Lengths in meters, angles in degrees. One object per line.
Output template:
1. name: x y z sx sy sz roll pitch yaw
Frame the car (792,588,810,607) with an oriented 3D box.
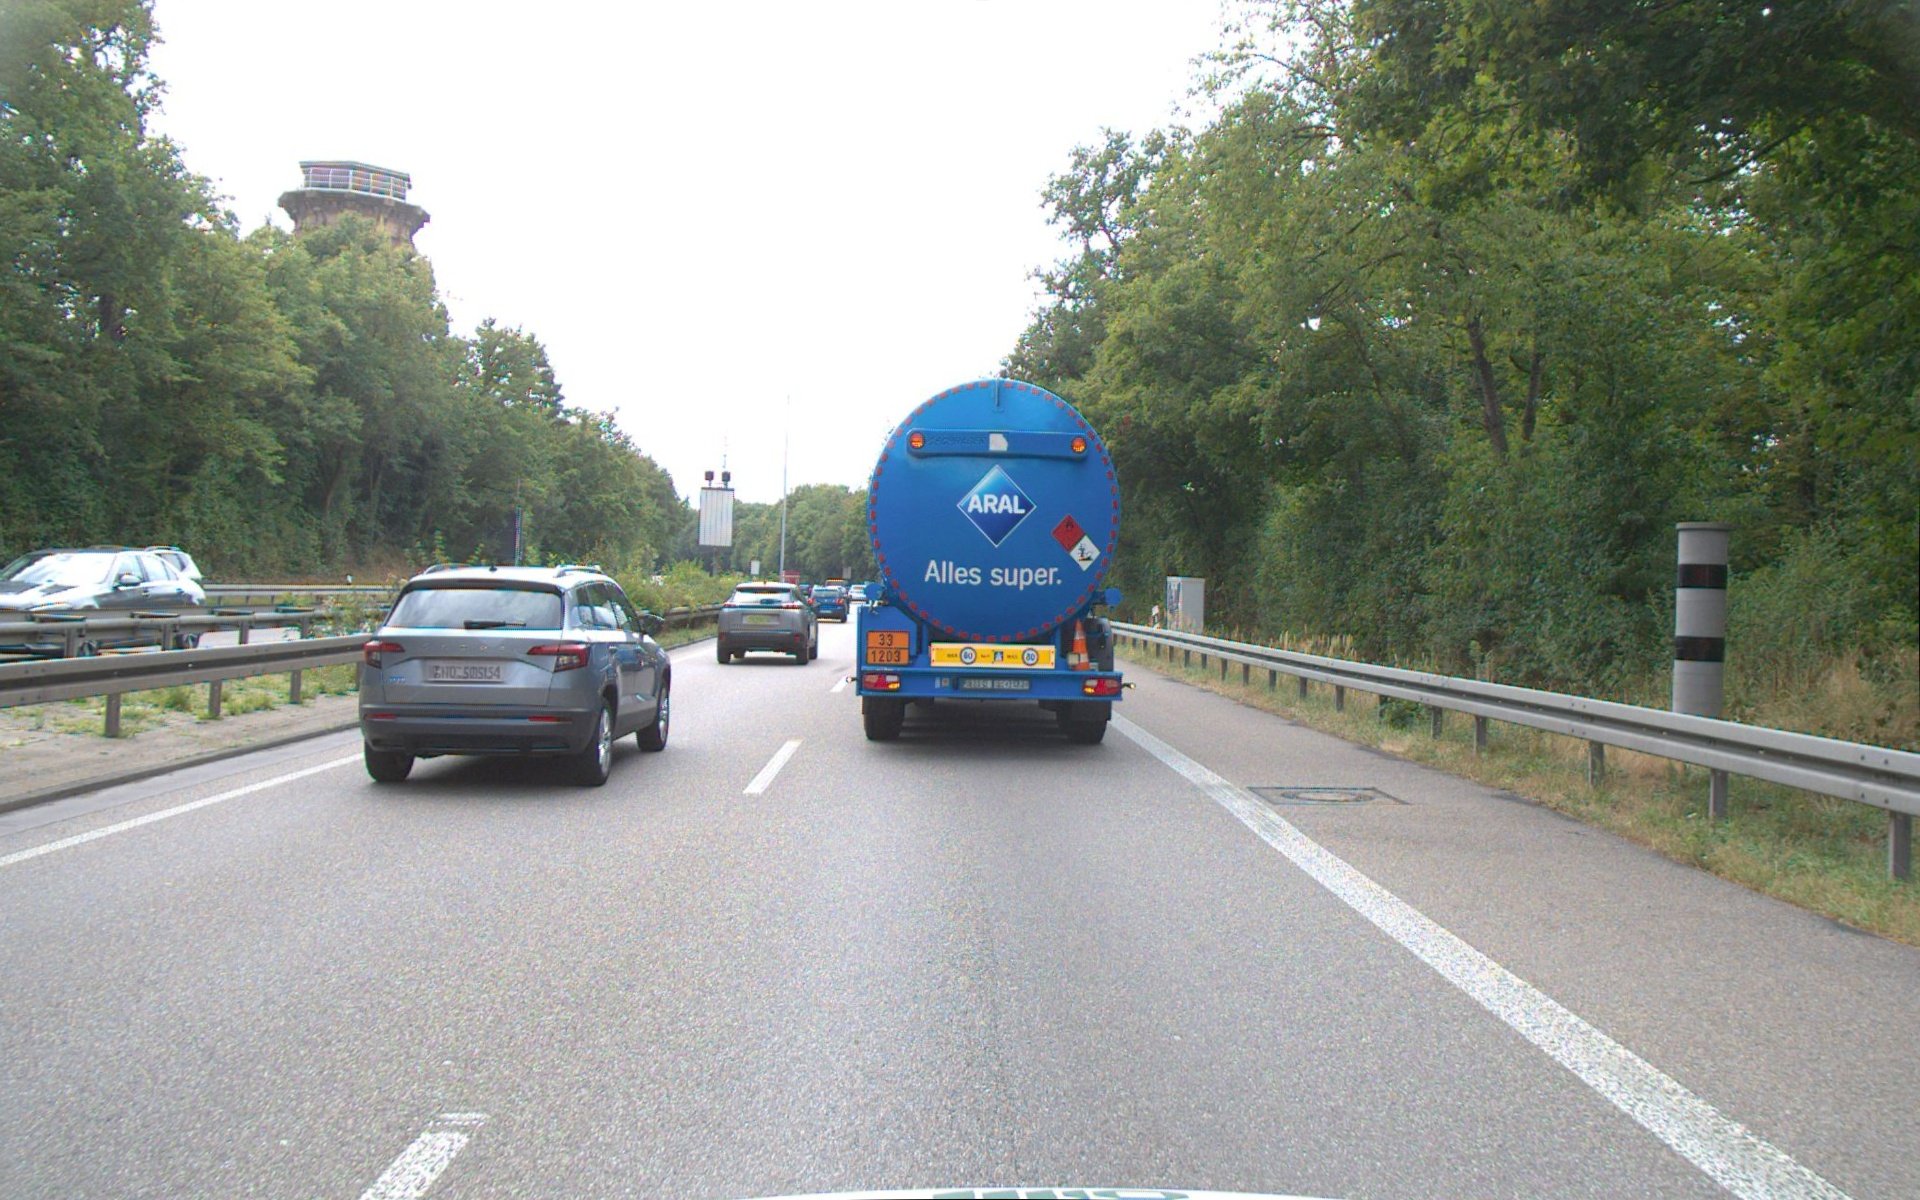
1. car: -19.696 -0.316 204.993 1.956 2.284 3.993 1 0 -8

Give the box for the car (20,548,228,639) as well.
1. car: -16.752 -0.126 33.429 1.855 1.681 4.638 1 0 -1

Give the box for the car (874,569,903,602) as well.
1. car: -5.046 -1.002 116.575 1.953 2.284 3.998 1 0 -2

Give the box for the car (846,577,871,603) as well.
1. car: -9.028 -0.874 147.236 1.953 2.284 3.999 1 0 -1

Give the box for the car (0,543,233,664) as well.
1. car: -11.510 0.035 21.874 1.654 1.405 4.935 1 0 -1

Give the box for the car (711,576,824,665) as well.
1. car: -3.773 0.380 32.978 1.789 1.637 4.166 1 0 -1

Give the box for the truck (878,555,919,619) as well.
1. truck: -3.172 -0.632 85.590 1.953 3.147 7.812 1 0 -2

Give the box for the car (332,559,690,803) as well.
1. car: -3.413 0.557 13.403 1.789 1.637 4.166 1 0 -1

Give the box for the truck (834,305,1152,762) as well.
1. truck: 0.236 -0.572 18.197 2.699 3.914 7.686 1 0 -1

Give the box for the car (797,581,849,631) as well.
1. car: -5.897 0.251 71.462 1.953 2.049 3.999 1 0 -1
